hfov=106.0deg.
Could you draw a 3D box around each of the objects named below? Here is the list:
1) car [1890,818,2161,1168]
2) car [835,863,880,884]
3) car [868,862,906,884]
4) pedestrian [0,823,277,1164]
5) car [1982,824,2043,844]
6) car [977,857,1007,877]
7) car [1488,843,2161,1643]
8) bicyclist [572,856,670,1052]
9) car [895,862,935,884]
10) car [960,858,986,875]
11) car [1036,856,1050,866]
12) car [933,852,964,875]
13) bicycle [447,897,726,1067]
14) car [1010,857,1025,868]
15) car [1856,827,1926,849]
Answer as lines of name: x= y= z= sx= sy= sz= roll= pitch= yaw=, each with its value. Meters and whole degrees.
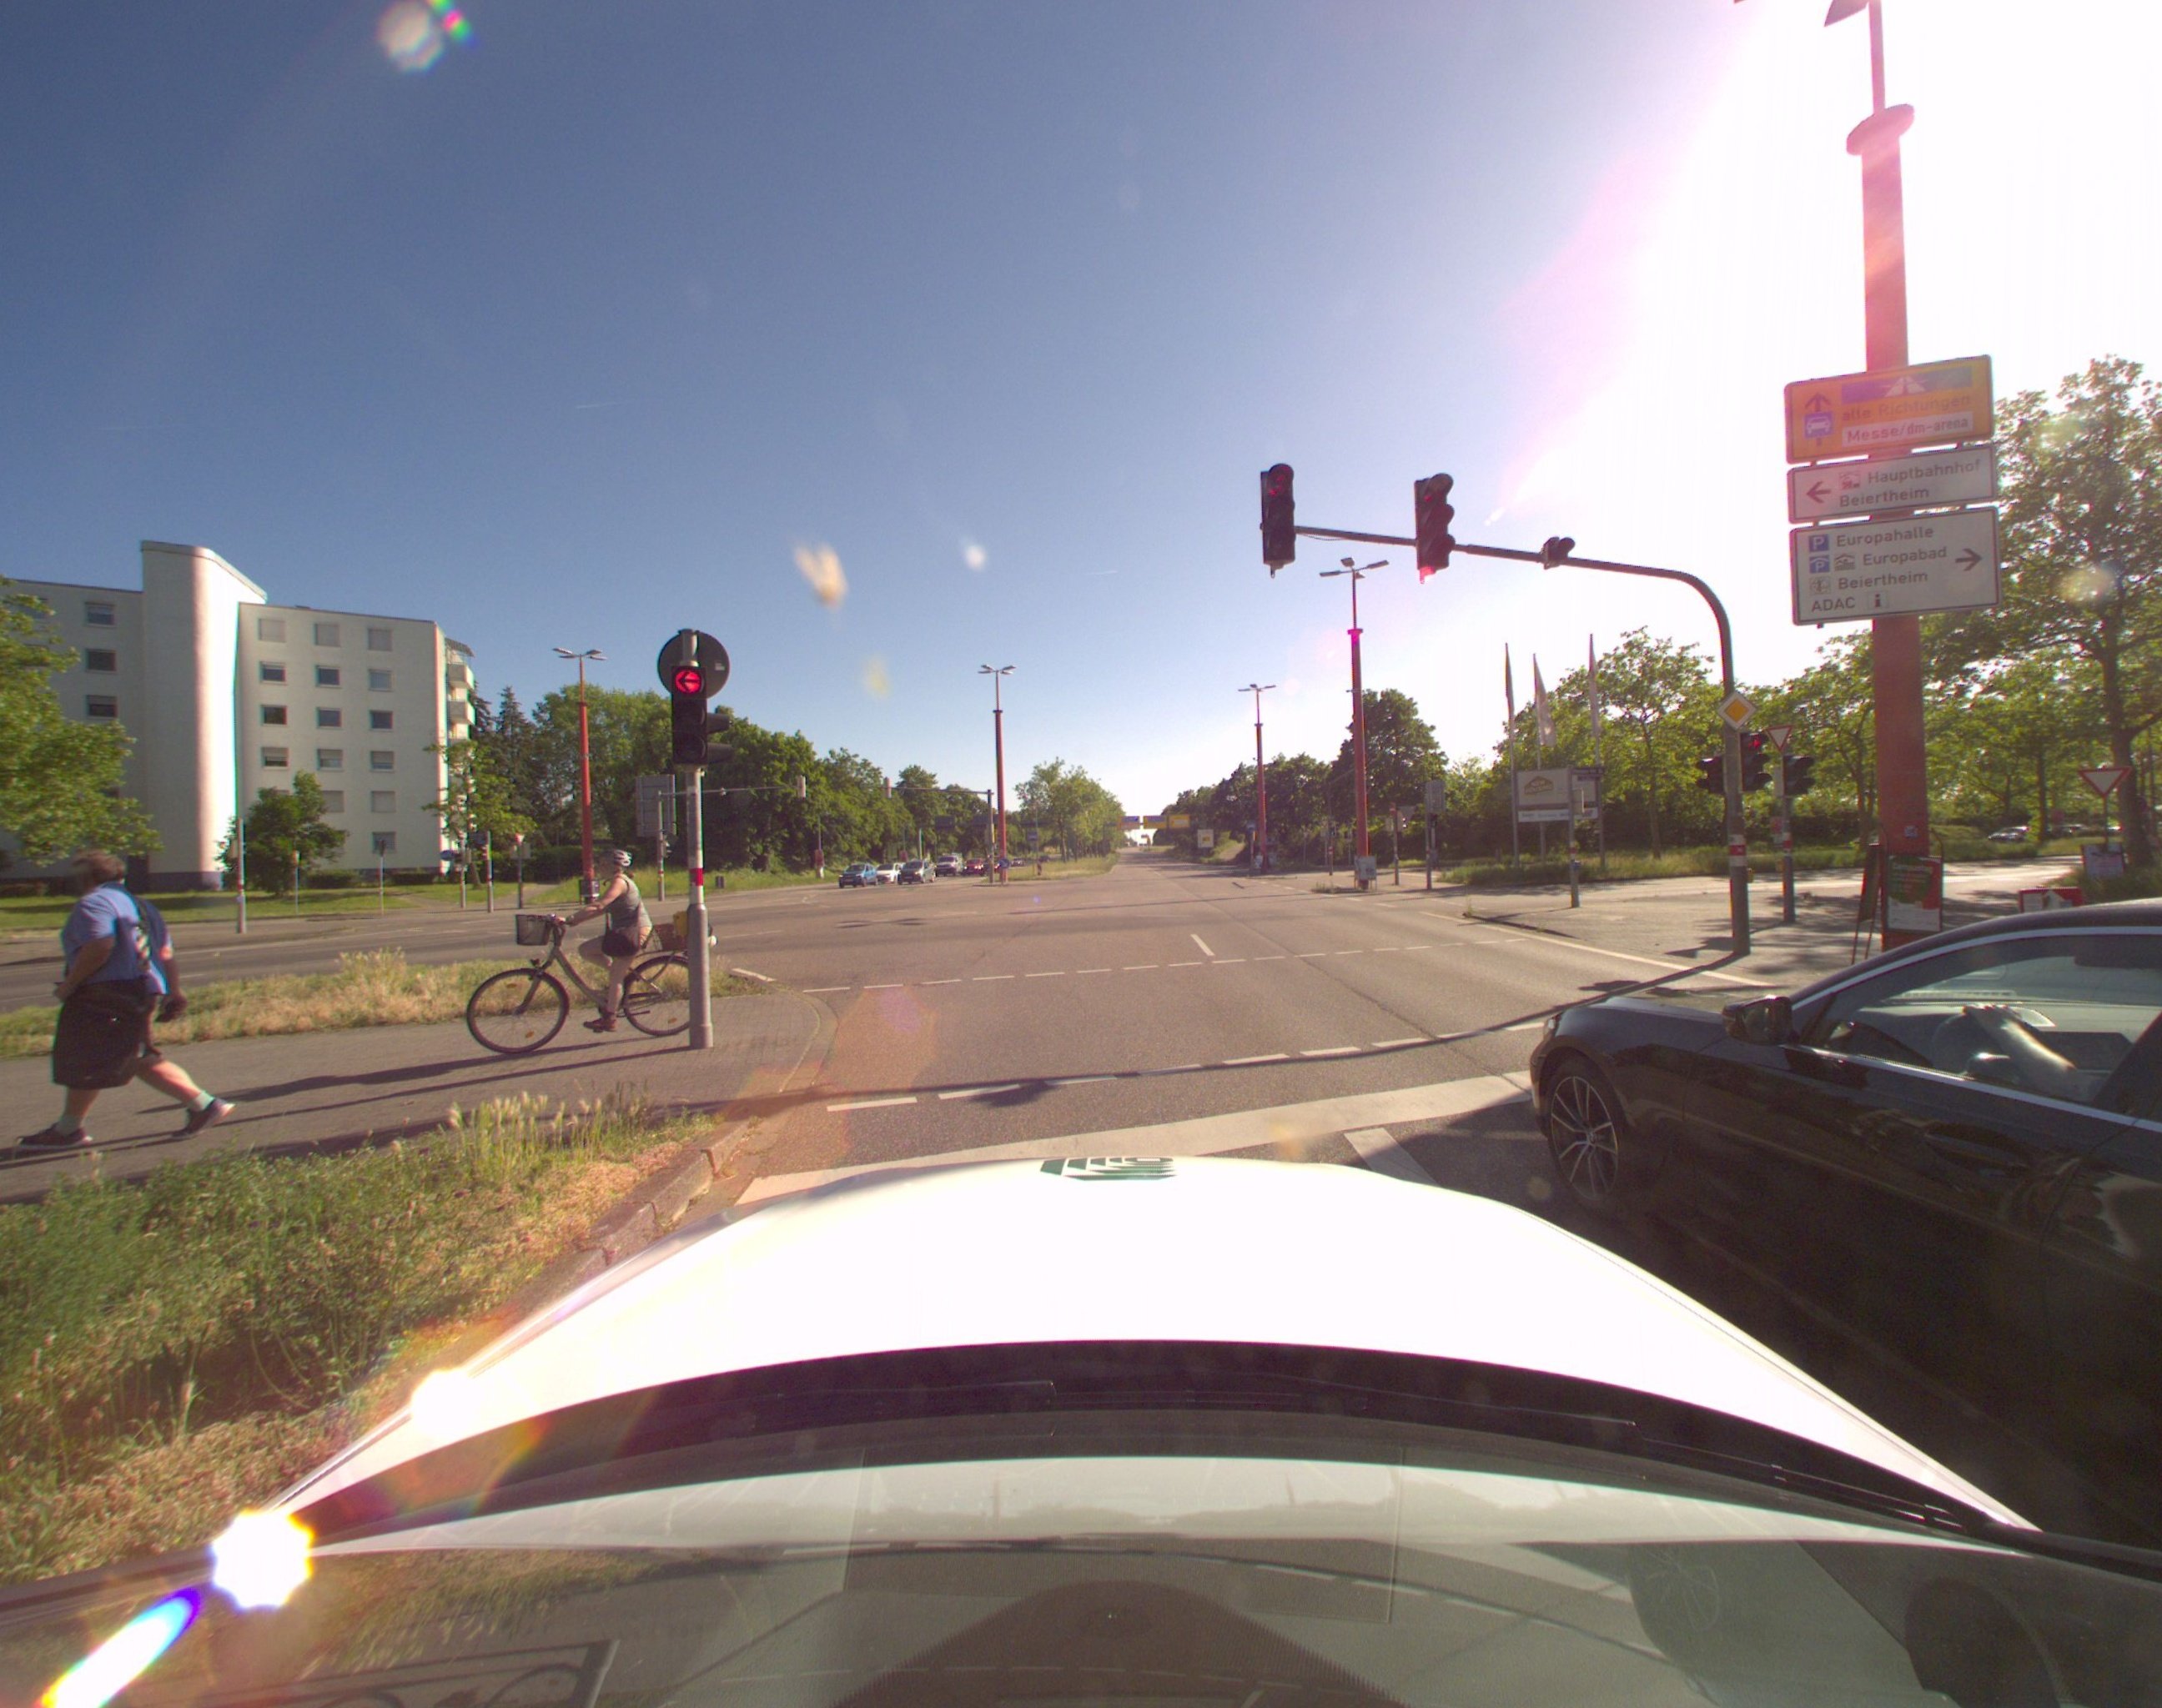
car: x=5.678 y=0.601 z=2.870 sx=1.732 sy=1.578 sz=4.032 roll=-2 pitch=0 yaw=3
car: x=-14.083 y=1.211 z=51.426 sx=1.733 sy=1.243 sz=3.613 roll=-2 pitch=0 yaw=1
car: x=-13.666 y=1.318 z=57.535 sx=1.733 sy=1.411 sz=3.613 roll=-2 pitch=0 yaw=1
pedestrian: x=-5.700 y=0.742 z=4.832 sx=0.988 sy=1.794 sz=0.948 roll=-1 pitch=0 yaw=-20
car: x=74.481 y=-1.594 z=65.133 sx=3.991 sy=1.467 sz=1.674 roll=-2 pitch=0 yaw=-17
car: x=-7.156 y=1.012 z=65.748 sx=1.812 sy=1.508 sz=4.002 roll=-2 pitch=0 yaw=2
car: x=2.867 y=0.687 z=1.809 sx=1.862 sy=1.398 sz=4.446 roll=-2 pitch=0 yaw=3
bicyclist: x=-4.001 y=0.823 z=7.126 sx=0.664 sy=1.584 sz=0.667 roll=-2 pitch=0 yaw=-26
car: x=-10.599 y=1.188 z=52.313 sx=1.733 sy=1.243 sz=3.613 roll=-2 pitch=0 yaw=1
car: x=-9.369 y=1.094 z=70.853 sx=1.733 sy=1.362 sz=3.613 roll=-2 pitch=0 yaw=1
car: x=-6.284 y=1.173 z=134.980 sx=1.812 sy=1.629 sz=4.002 roll=-2 pitch=0 yaw=2
car: x=-12.283 y=0.893 z=75.917 sx=1.886 sy=2.026 sz=5.224 roll=-2 pitch=0 yaw=1
bicycle: x=-4.159 y=1.030 z=7.042 sx=1.952 sy=1.195 sz=0.686 roll=-2 pitch=0 yaw=-26
car: x=-9.693 y=1.240 z=124.897 sx=1.791 sy=1.640 sz=4.002 roll=-2 pitch=0 yaw=2
car: x=60.794 y=-1.184 z=61.128 sx=4.322 sy=1.485 sz=1.776 roll=-2 pitch=0 yaw=-15
